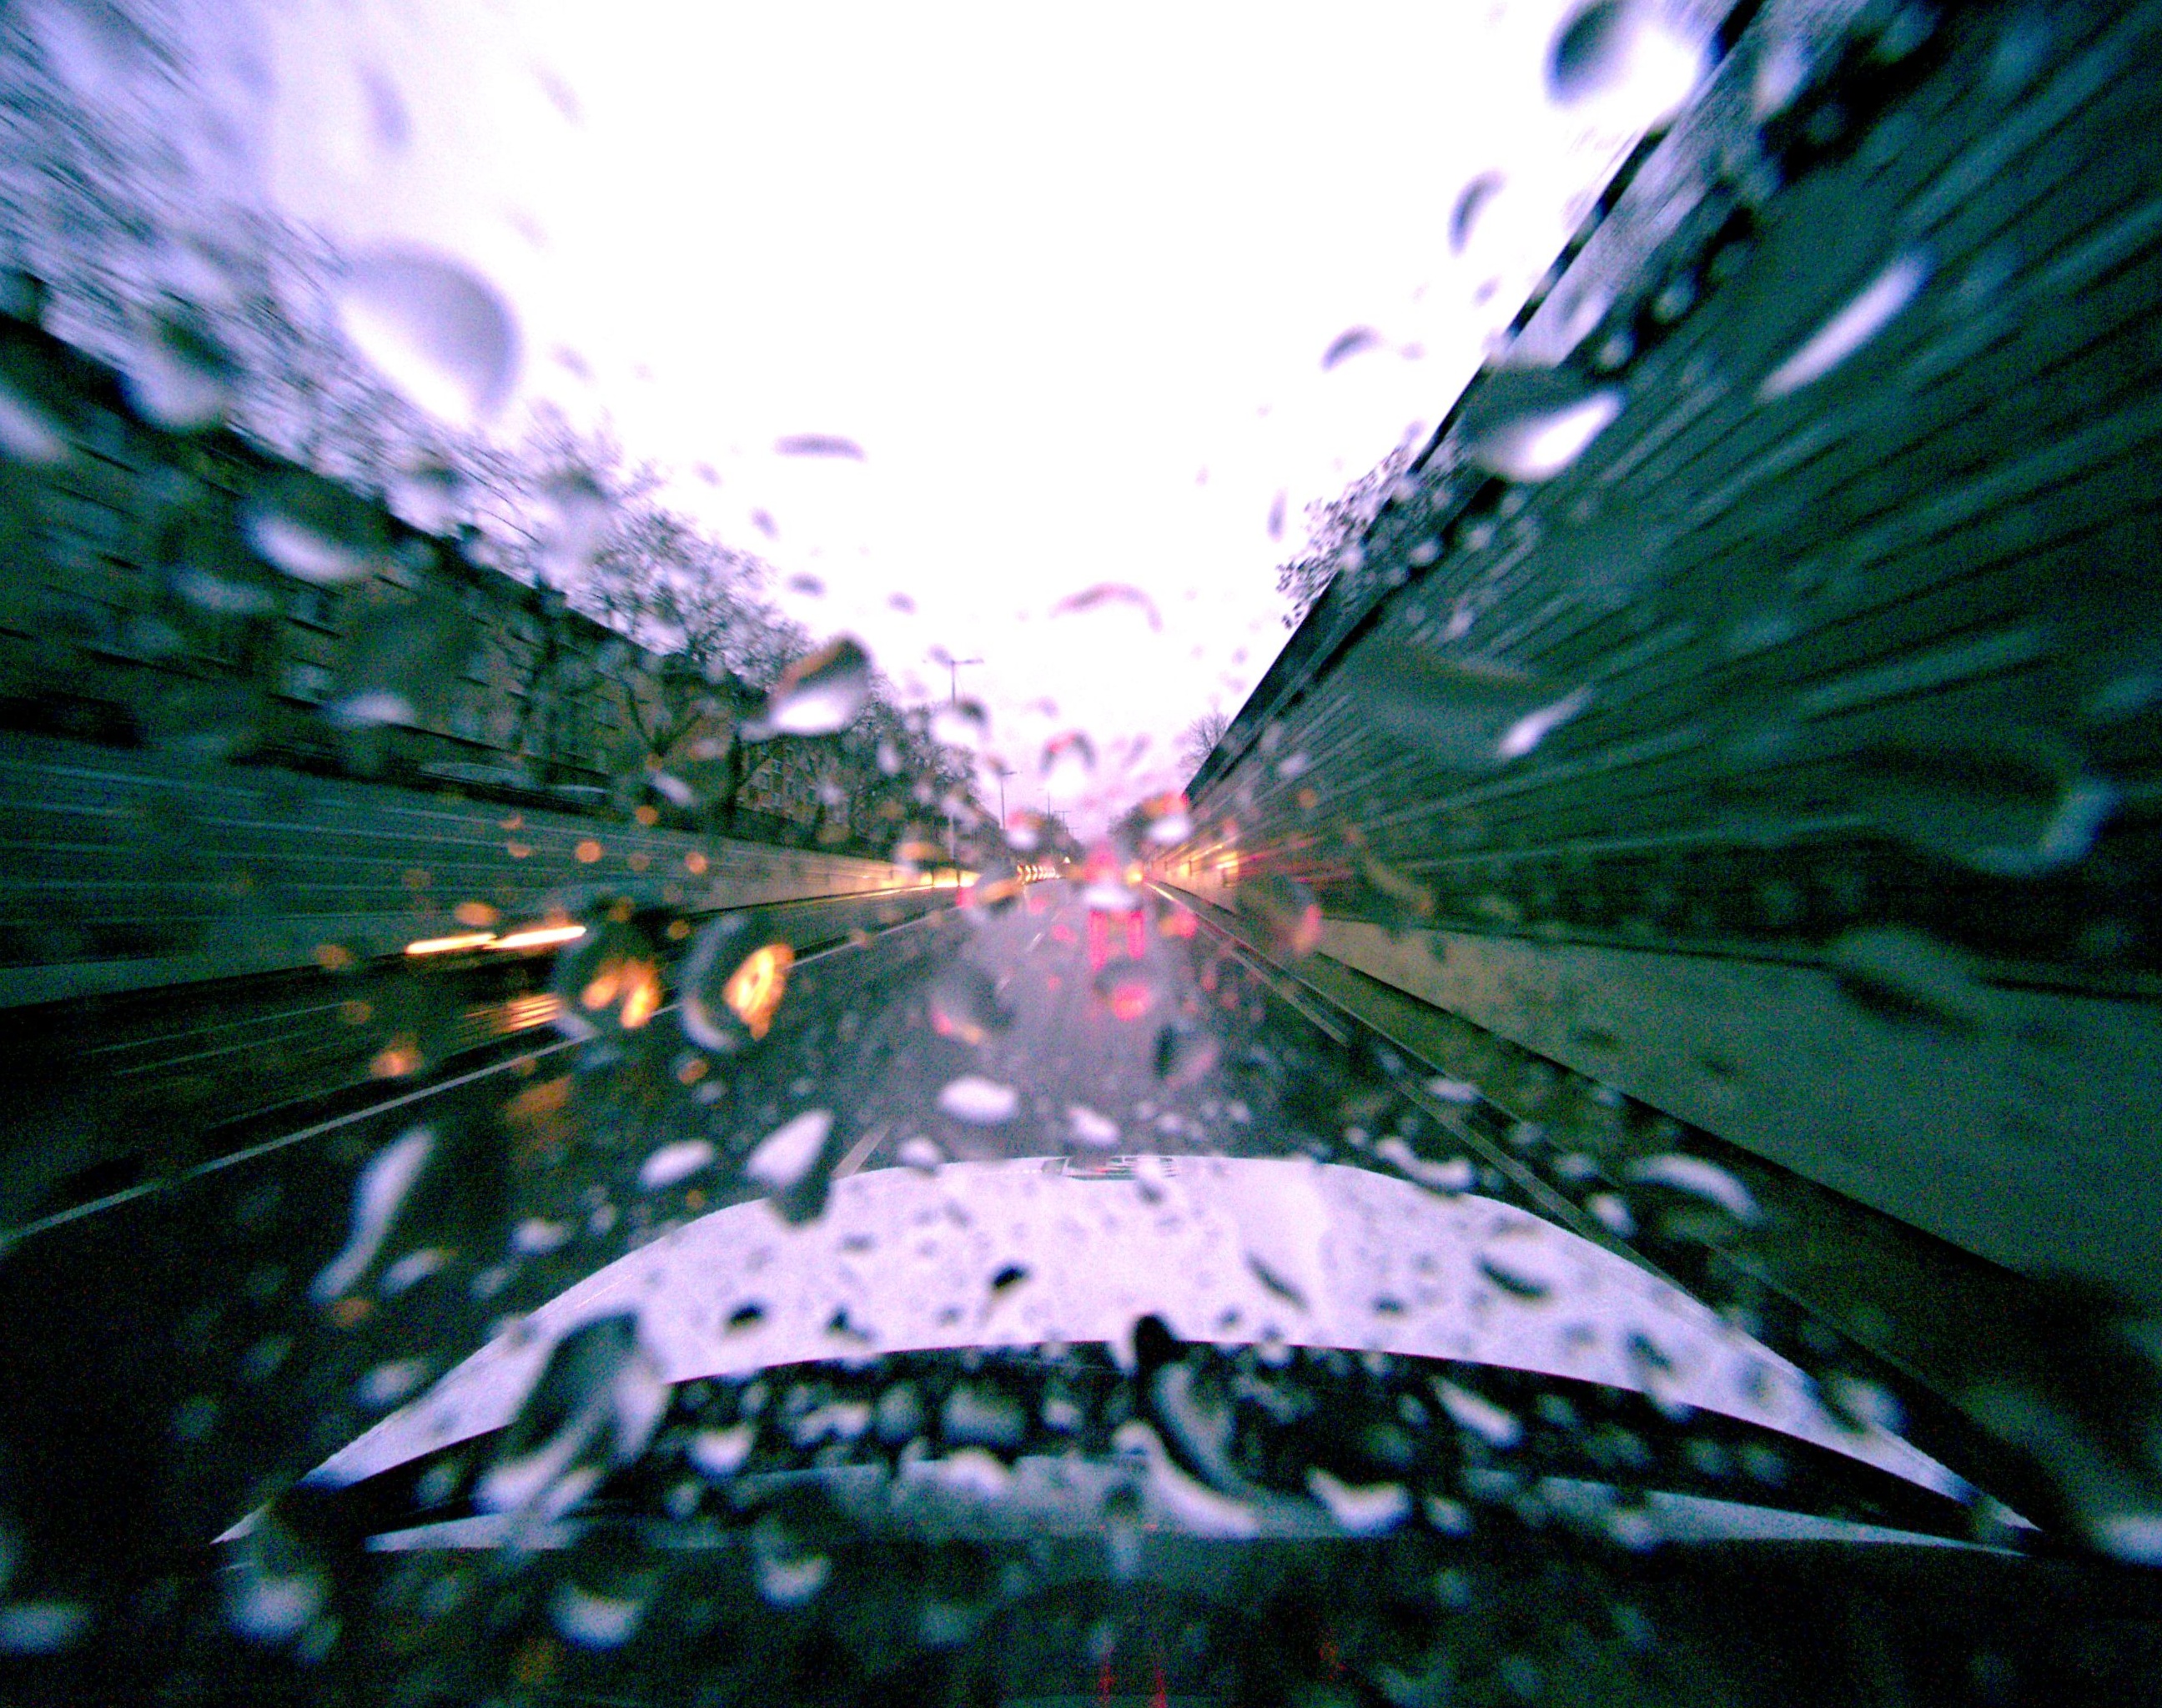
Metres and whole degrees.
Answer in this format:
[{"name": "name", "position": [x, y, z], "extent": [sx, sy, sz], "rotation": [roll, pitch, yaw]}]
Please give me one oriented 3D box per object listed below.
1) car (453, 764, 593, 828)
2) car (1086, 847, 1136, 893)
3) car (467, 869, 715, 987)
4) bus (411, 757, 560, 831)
[{"name": "car", "position": [-16.020, -1.614, 23.580], "extent": [1.559, 1.397, 3.406], "rotation": [-4, -2, 2]}, {"name": "car", "position": [1.002, 0.565, 27.278], "extent": [1.526, 1.397, 3.435], "rotation": [-1, -2, 2]}, {"name": "car", "position": [-7.482, 1.034, 12.901], "extent": [1.566, 1.471, 3.688], "rotation": [-2, 0, 1]}, {"name": "bus", "position": [-19.412, -1.890, 26.797], "extent": [1.688, 1.870, 4.067], "rotation": [-4, -2, 3]}]
